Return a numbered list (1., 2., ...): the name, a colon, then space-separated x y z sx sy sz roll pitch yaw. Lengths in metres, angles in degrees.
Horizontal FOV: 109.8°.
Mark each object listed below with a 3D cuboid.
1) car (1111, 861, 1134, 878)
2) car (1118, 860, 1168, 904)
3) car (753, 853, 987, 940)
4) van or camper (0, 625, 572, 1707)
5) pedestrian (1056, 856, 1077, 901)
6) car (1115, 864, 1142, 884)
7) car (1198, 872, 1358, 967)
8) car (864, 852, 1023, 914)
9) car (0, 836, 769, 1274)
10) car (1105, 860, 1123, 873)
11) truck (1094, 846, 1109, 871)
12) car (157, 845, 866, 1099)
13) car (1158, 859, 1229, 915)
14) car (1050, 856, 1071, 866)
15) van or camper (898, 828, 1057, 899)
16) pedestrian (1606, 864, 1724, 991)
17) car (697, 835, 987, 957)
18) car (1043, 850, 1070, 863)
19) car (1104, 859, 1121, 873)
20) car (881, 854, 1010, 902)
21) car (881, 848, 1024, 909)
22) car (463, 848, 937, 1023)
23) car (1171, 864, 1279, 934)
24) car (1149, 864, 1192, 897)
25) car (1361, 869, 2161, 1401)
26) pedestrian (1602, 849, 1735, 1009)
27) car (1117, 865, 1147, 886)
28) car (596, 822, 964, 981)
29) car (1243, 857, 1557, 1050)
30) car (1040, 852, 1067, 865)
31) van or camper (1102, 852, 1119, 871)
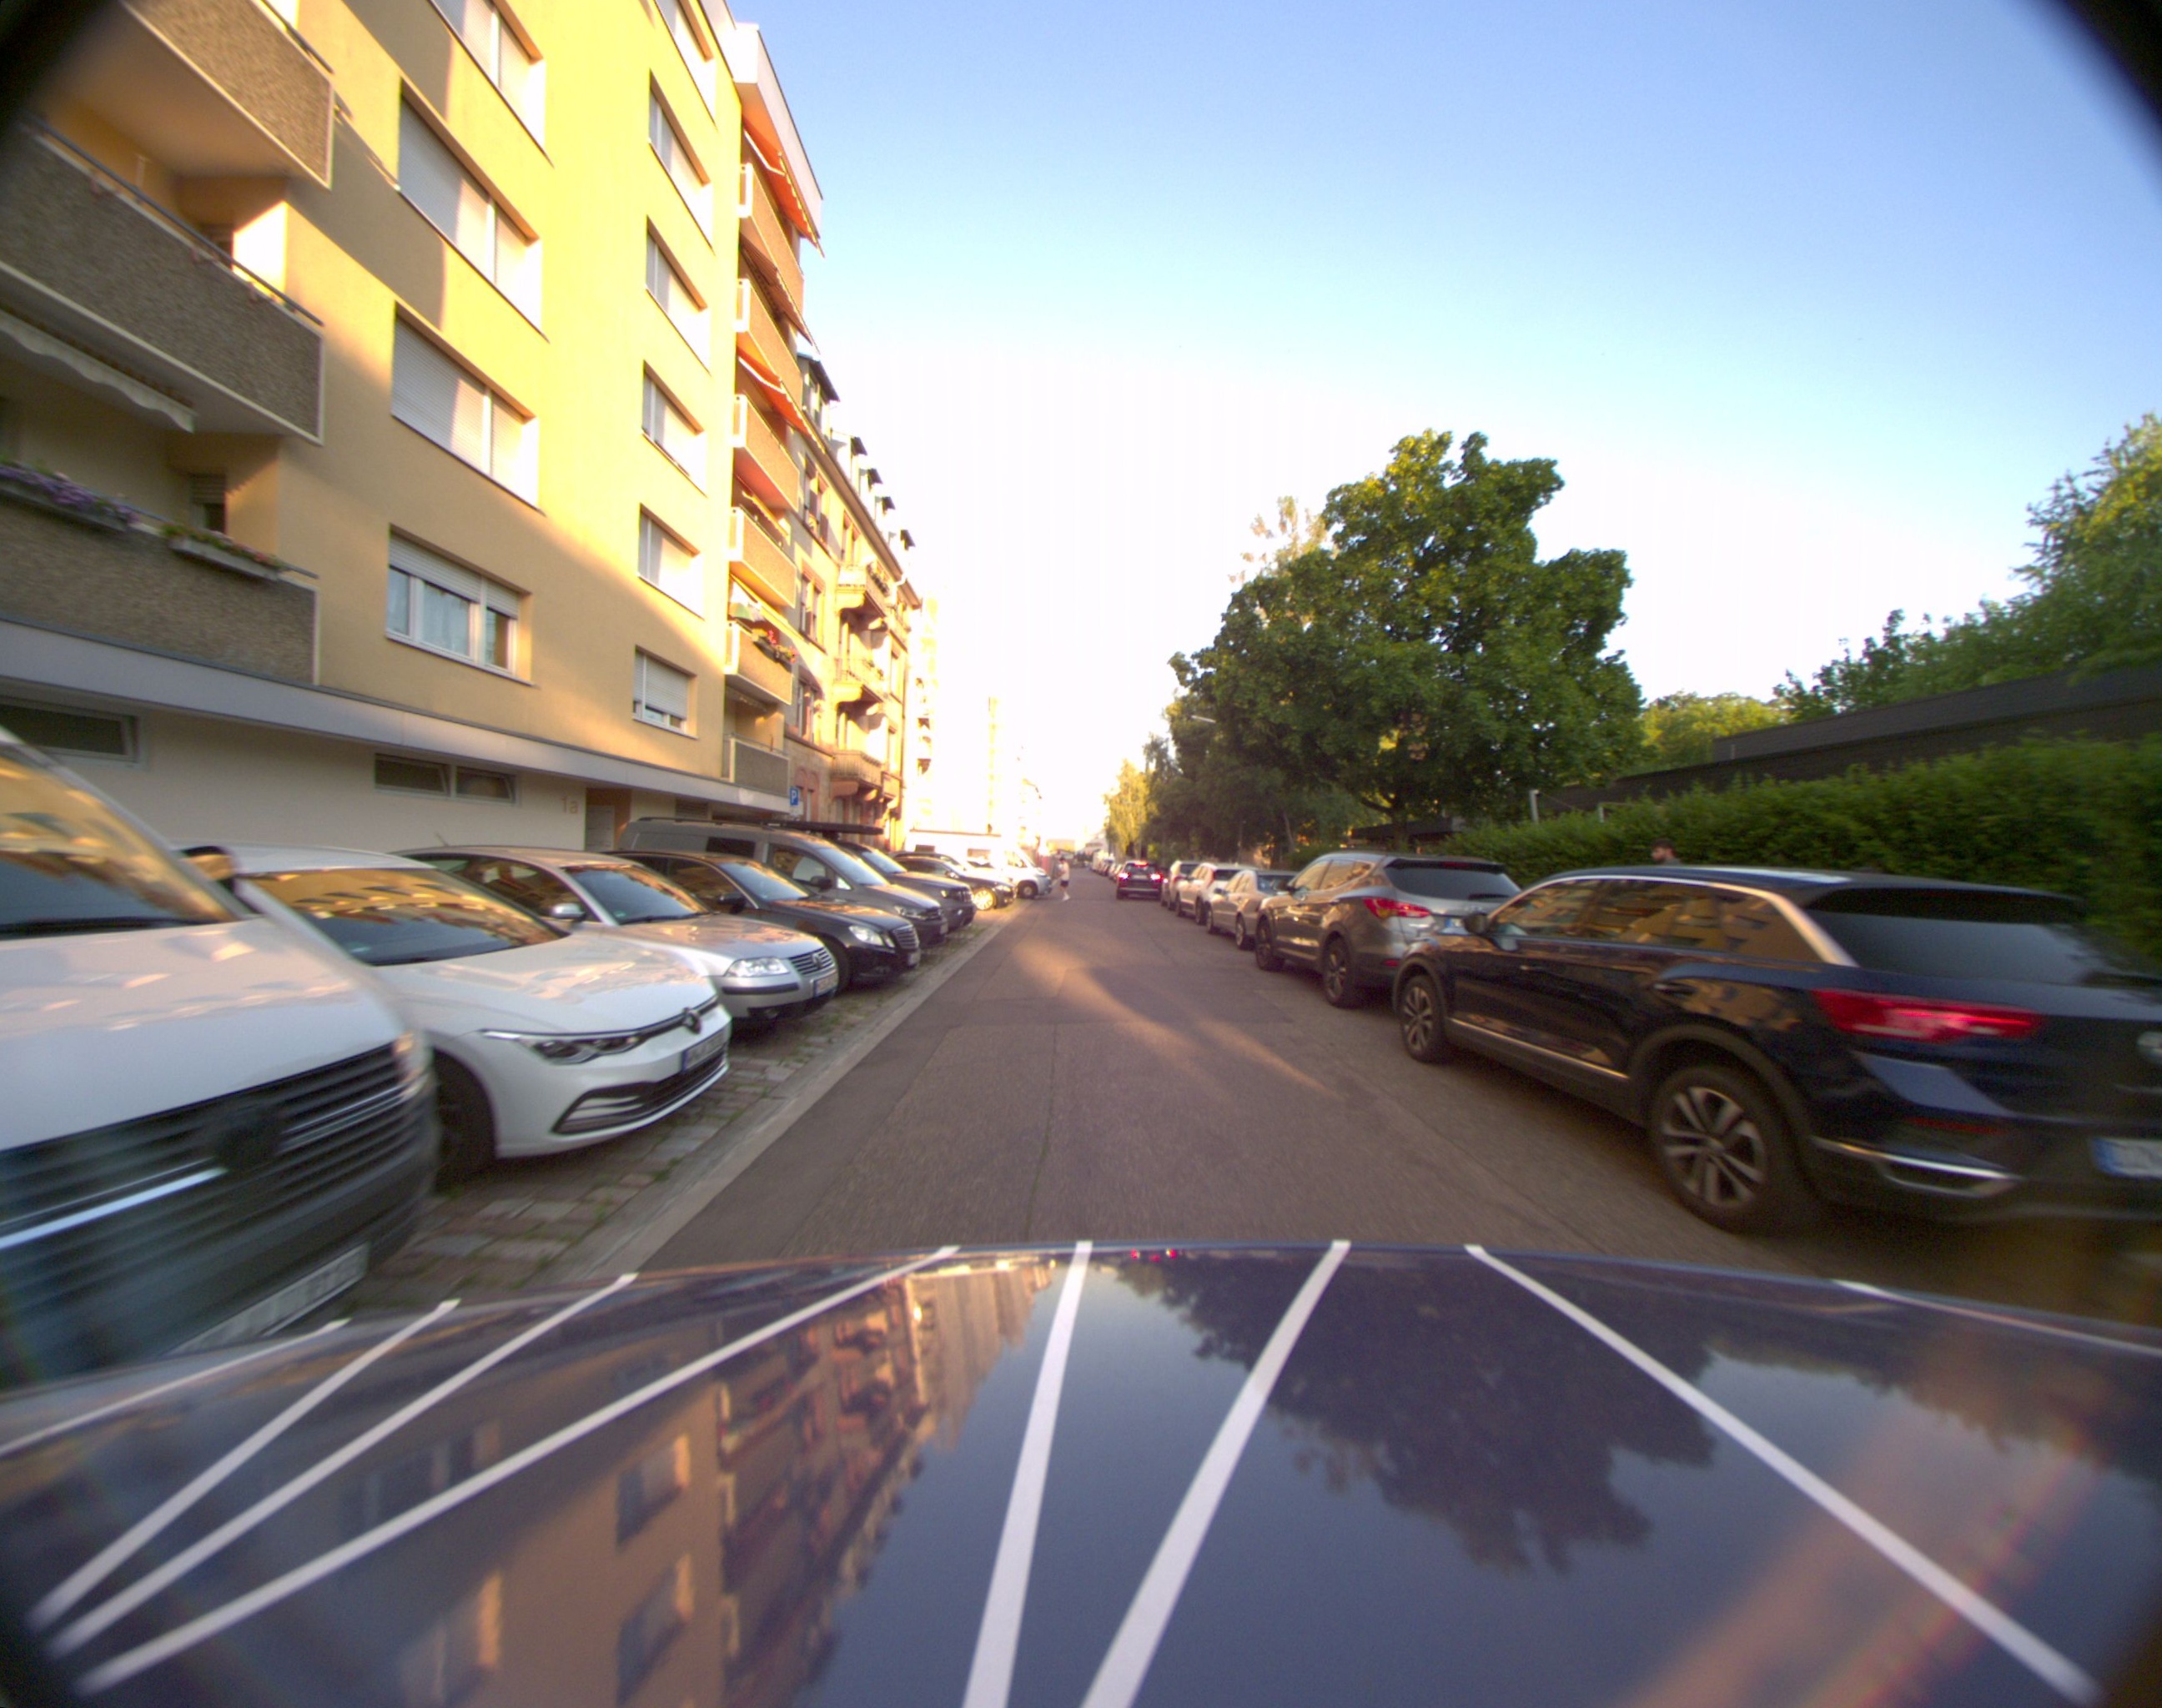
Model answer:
1. car: 3.640 1.349 67.437 1.738 1.358 4.291 2 0 -1
2. car: 2.635 1.112 31.551 1.736 1.621 4.129 2 0 8
3. car: -4.398 0.858 16.272 4.414 1.545 1.846 3 0 2
4. van or camper: -4.457 0.480 1.646 5.147 2.155 2.040 5 1 -2
5. pedestrian: -0.547 0.916 29.173 0.748 1.692 0.558 -2 0 -4
6. car: 3.631 1.524 58.992 1.738 1.358 3.804 2 0 -1
7. car: 3.582 1.127 14.657 1.738 1.418 4.286 2 0 -3
8. car: -4.069 0.839 22.976 4.414 1.545 1.845 3 2 1
9. car: -4.272 0.818 4.039 4.415 1.622 1.845 2 2 0
10. car: 3.662 1.405 85.959 1.738 1.358 4.291 2 0 -1
11. truck: 3.311 0.737 123.399 2.183 3.860 4.926 0 0 0
12. car: -4.264 0.826 6.261 4.415 1.584 1.845 2 2 0
13. car: 3.639 1.022 25.160 1.738 1.621 3.981 2 0 1
14. car: -3.952 1.351 148.500 3.997 2.002 2.000 0 0 0
15. van or camper: -4.096 0.388 30.933 6.074 2.489 2.050 3 0 0
16. pedestrian: 7.364 0.889 9.626 0.750 1.499 0.902 -2 0 -2
17. car: -4.097 0.699 13.598 4.524 1.852 1.845 2 0 0
18. car: -3.749 0.398 116.801 3.997 2.002 2.000 0 0 0
19. car: 3.743 1.424 91.686 1.738 1.502 4.291 2 0 -1
20. car: -4.937 0.862 28.079 4.414 1.610 1.845 1 2 1
21. car: -4.243 0.779 25.548 4.414 1.739 1.845 3 2 2
22. car: -4.053 0.826 8.636 4.415 1.554 1.845 2 2 0
23. car: 3.594 1.068 19.778 1.764 1.533 4.279 2 0 -3
24. car: 4.211 1.232 36.238 1.624 1.417 3.415 2 0 0
25. car: 3.384 0.934 4.439 1.738 1.558 4.166 2 0 -3
26. pedestrian: 6.693 0.817 8.692 0.901 1.722 0.750 -2 0 -1
27. car: 3.586 1.502 53.785 1.738 1.280 3.804 2 0 -1
28. car: -4.225 0.621 11.231 4.649 1.970 1.845 2 2 0
29. car: 3.419 0.936 9.180 1.738 1.720 4.322 2 0 -3
30. car: -4.087 0.671 113.644 3.997 2.002 2.000 0 0 0
31. van or camper: 3.687 0.946 97.036 1.825 2.400 4.291 2 0 -1
